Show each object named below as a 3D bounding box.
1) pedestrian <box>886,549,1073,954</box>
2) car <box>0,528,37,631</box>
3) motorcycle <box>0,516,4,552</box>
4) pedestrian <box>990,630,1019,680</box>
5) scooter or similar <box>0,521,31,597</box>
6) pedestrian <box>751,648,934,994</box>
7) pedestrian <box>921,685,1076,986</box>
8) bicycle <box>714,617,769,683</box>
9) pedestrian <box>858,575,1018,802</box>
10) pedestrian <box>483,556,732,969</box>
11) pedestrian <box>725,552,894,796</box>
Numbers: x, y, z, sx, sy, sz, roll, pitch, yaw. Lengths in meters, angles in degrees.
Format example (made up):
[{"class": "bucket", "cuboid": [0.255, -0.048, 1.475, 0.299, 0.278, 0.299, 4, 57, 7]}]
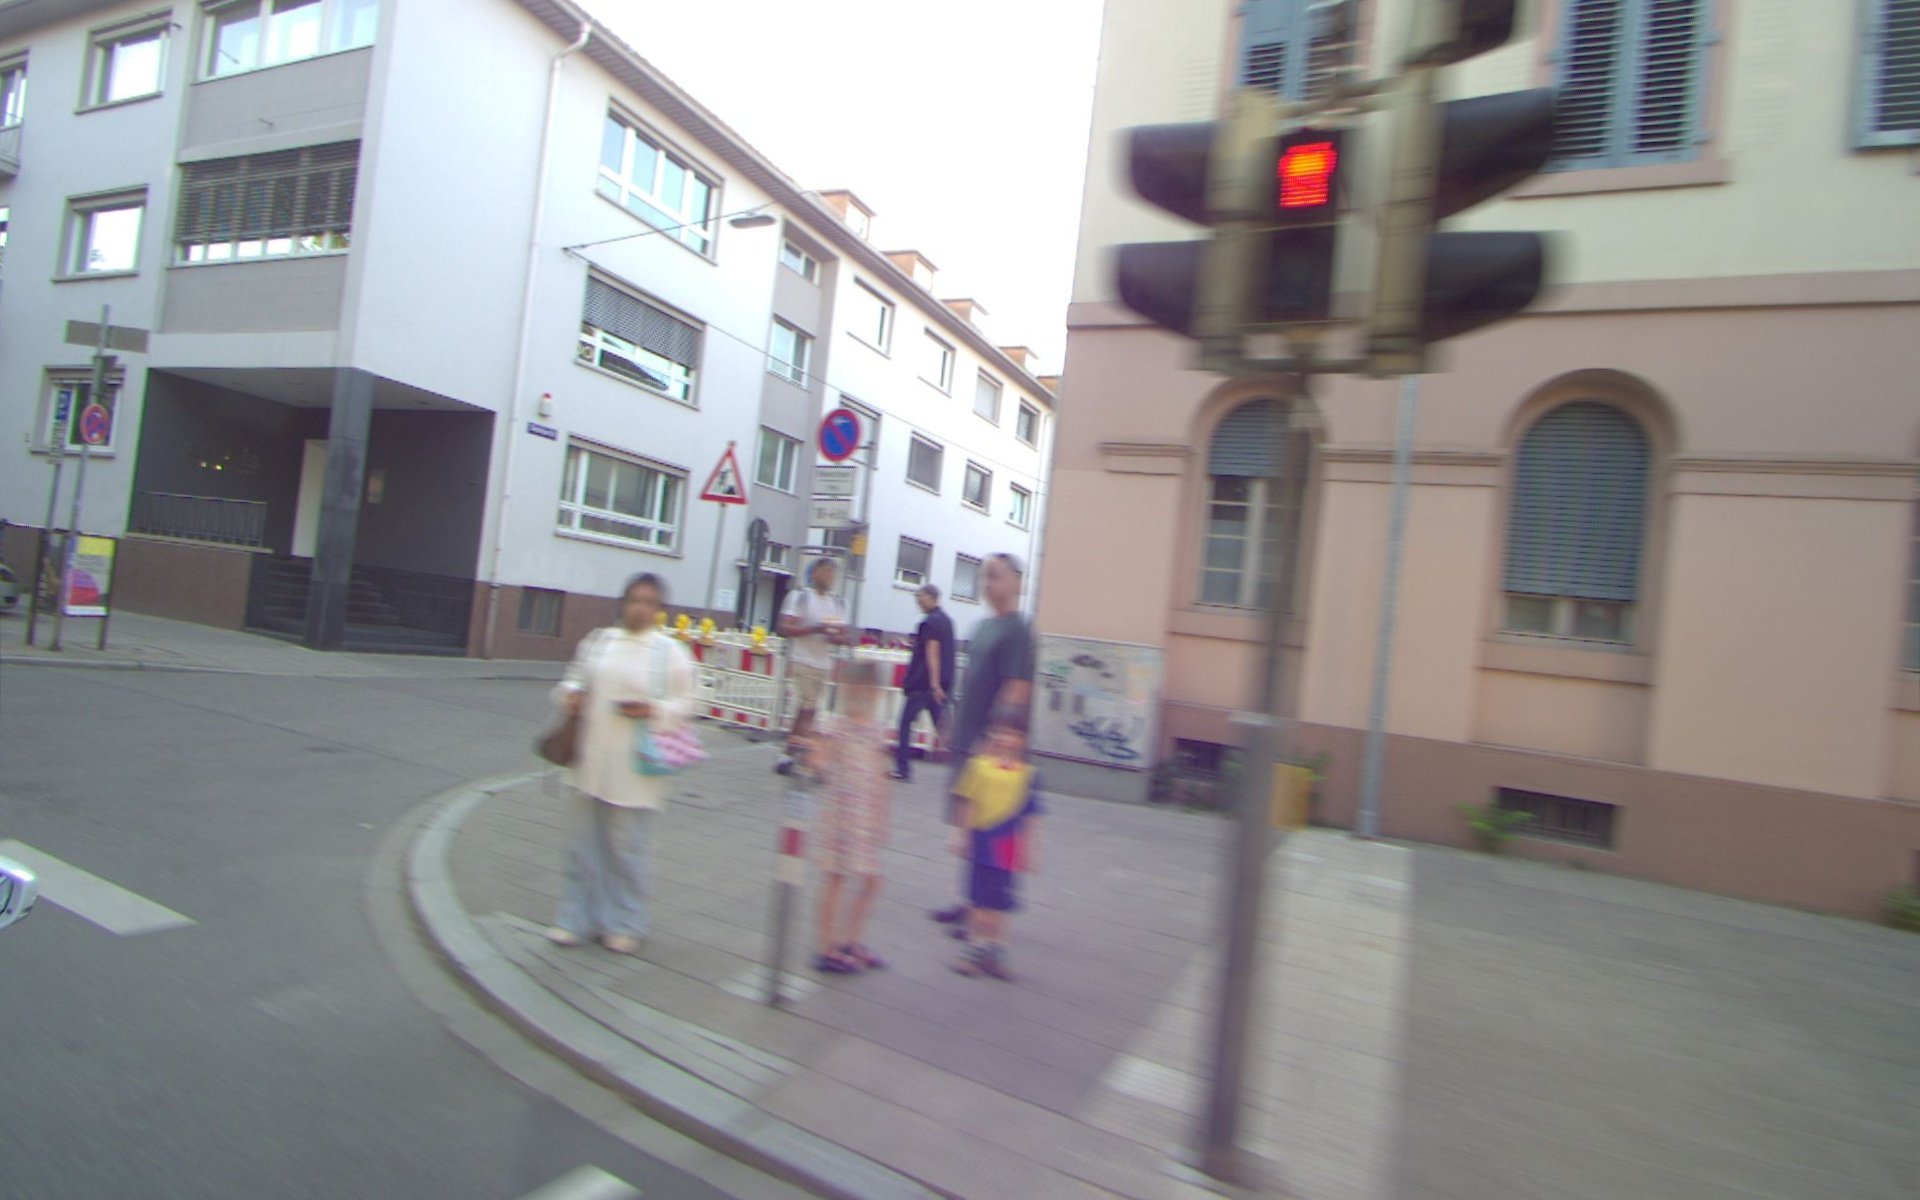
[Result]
[{"class": "pedestrian", "cuboid": [0.106, 0.691, 4.895, 0.566, 1.797, 0.544, 6, 1, 27]}, {"class": "car", "cuboid": [-14.395, -0.496, 12.418, 1.763, 1.348, 3.997, 6, -2, 28]}, {"class": "motorcycle", "cuboid": [-11.943, -0.367, 11.030, 0.985, 1.409, 1.907, 5, -1, 38]}, {"class": "pedestrian", "cuboid": [1.568, 1.952, 35.352, 0.638, 1.673, 0.650, 6, -1, 25]}, {"class": "scooter or similar", "cuboid": [-16.730, -0.739, 17.569, 1.398, 1.254, 0.346, 6, -1, 35]}, {"class": "pedestrian", "cuboid": [-0.487, 0.868, 4.131, 0.485, 1.278, 0.447, 5, 1, -35]}, {"class": "pedestrian", "cuboid": [0.176, 0.997, 4.427, 0.535, 1.160, 0.493, 6, 1, 4]}, {"class": "bicycle", "cuboid": [-4.508, 1.029, 20.866, 0.523, 1.253, 1.797, 7, -2, 3]}, {"class": "pedestrian", "cuboid": [-0.189, 0.756, 8.938, 1.047, 1.818, 0.698, 6, 1, 26]}, {"class": "pedestrian", "cuboid": [-1.420, 0.631, 4.159, 0.707, 1.531, 0.599, 6, 1, -4]}, {"class": "pedestrian", "cuboid": [-1.279, 0.602, 8.565, 1.032, 1.878, 0.698, 6, 0, 30]}]
